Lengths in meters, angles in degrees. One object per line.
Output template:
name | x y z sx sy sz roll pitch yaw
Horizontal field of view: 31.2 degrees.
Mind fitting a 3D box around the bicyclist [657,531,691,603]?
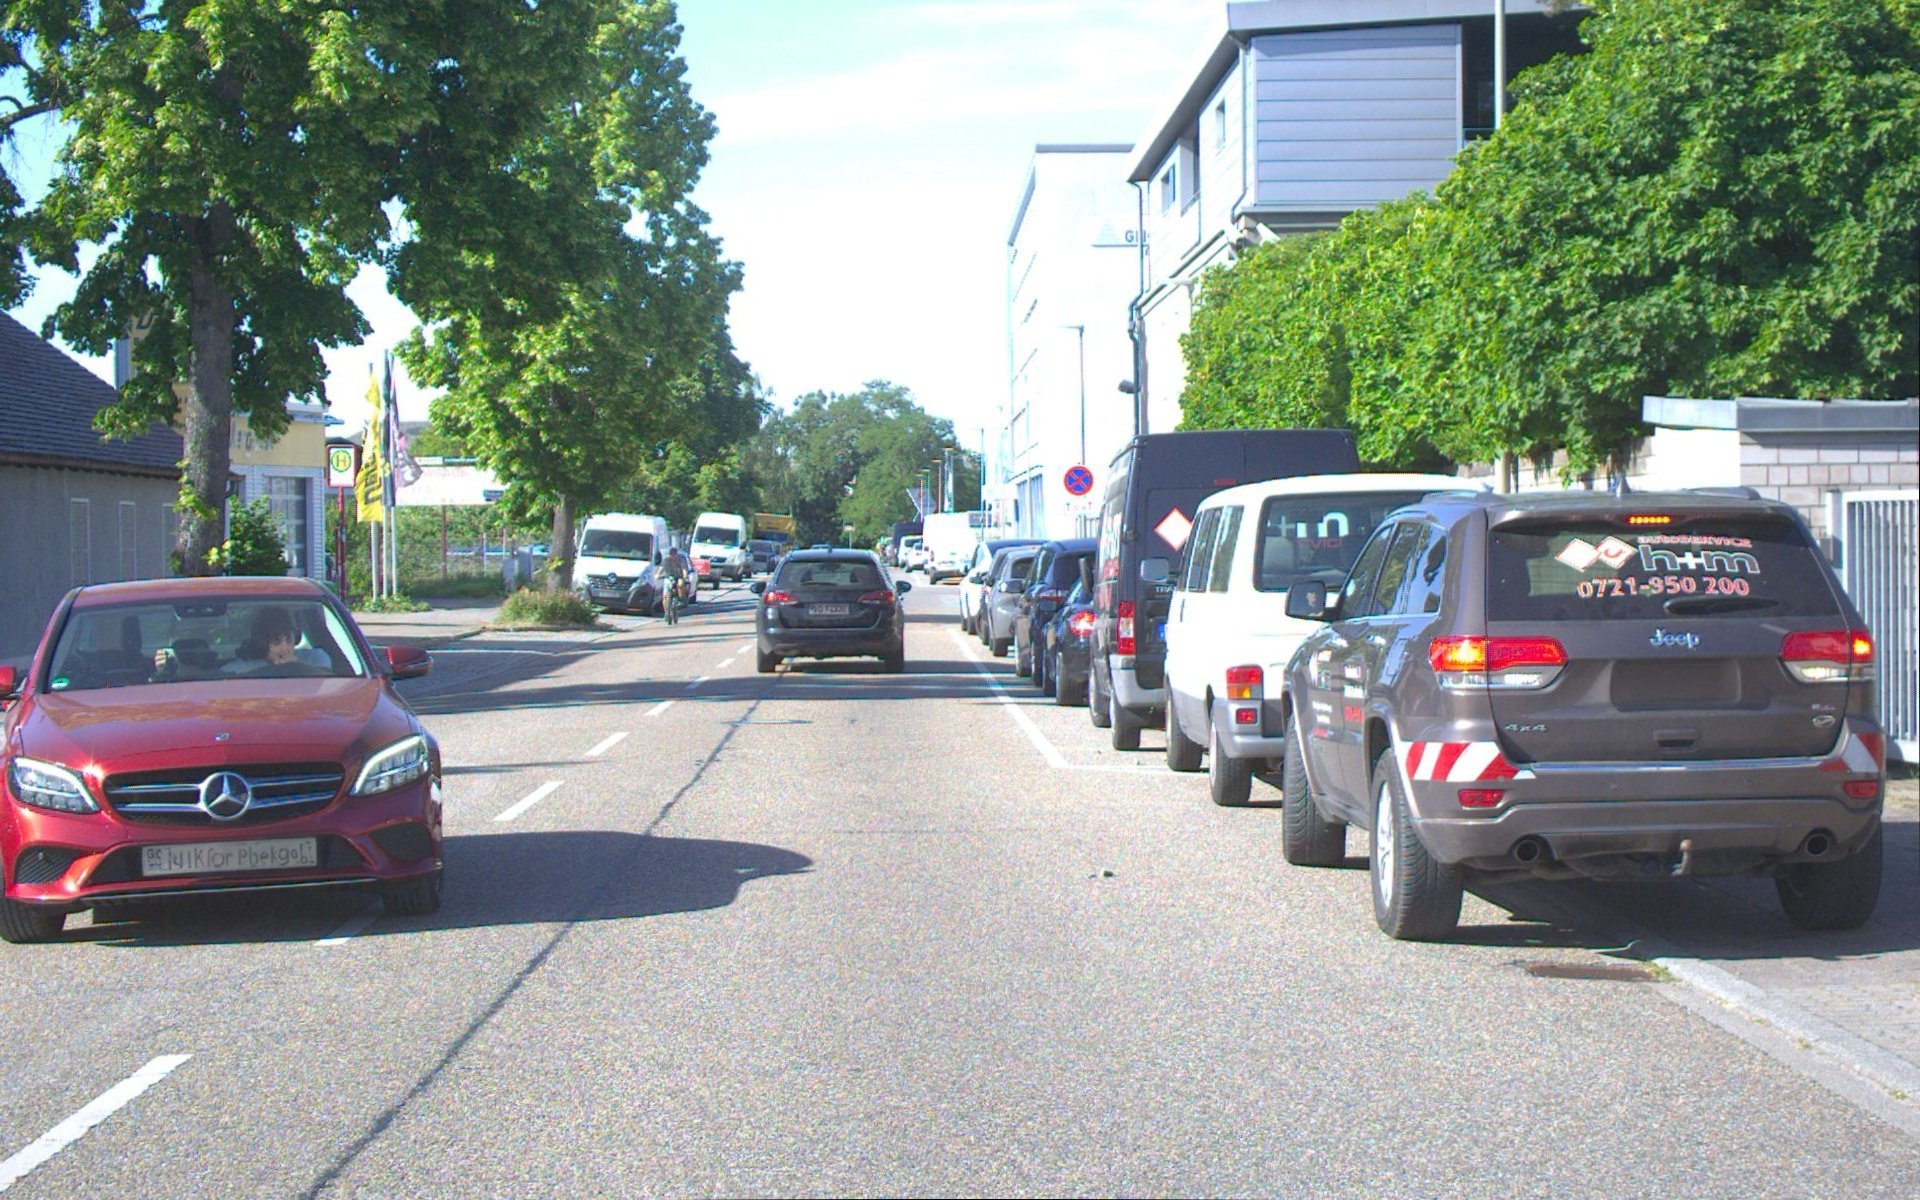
bicyclist | -6.145 -0.712 73.855 0.695 1.534 0.635 -1 1 -3

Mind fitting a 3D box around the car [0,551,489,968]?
car | -3.350 0.576 15.298 1.875 1.480 4.046 -3 2 -16

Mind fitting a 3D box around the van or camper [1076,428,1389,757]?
van or camper | 1.987 -0.095 26.217 1.993 2.302 4.000 -1 1 -1

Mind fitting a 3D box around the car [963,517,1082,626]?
car | 1.054 -0.527 59.960 1.919 1.819 4.080 -1 1 -1

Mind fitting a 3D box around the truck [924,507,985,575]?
truck | -0.219 -2.070 120.005 1.993 2.280 6.956 -1 1 -1

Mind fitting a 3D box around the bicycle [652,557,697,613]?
bicycle | -6.141 -0.340 74.033 0.829 1.149 2.941 -1 1 -2

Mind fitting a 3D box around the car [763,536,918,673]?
car | -1.412 0.013 41.858 1.711 1.527 3.688 -1 2 0

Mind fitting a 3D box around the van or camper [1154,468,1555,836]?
van or camper | 2.296 0.242 21.038 1.919 2.012 4.080 -1 1 -1

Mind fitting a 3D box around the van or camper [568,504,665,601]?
van or camper | -8.710 -1.230 87.575 2.323 2.354 6.530 -1 1 -5

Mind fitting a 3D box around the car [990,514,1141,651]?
car | 1.436 -0.277 48.327 1.919 1.819 4.080 -1 1 -1

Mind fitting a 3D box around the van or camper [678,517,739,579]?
van or camper | -10.021 -2.092 136.775 2.323 2.354 6.530 -1 1 -5

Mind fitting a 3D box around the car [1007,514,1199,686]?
car | 1.551 -0.043 38.638 1.919 1.819 4.080 -1 1 -1

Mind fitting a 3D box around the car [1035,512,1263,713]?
car | 1.771 0.073 33.450 1.919 1.819 4.080 -1 1 -1

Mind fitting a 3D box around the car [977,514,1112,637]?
car | 1.275 -0.414 53.496 1.919 1.819 4.080 -1 1 -1

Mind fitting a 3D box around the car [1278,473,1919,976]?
car | 2.532 0.410 14.591 1.919 1.819 4.080 -1 1 -1
